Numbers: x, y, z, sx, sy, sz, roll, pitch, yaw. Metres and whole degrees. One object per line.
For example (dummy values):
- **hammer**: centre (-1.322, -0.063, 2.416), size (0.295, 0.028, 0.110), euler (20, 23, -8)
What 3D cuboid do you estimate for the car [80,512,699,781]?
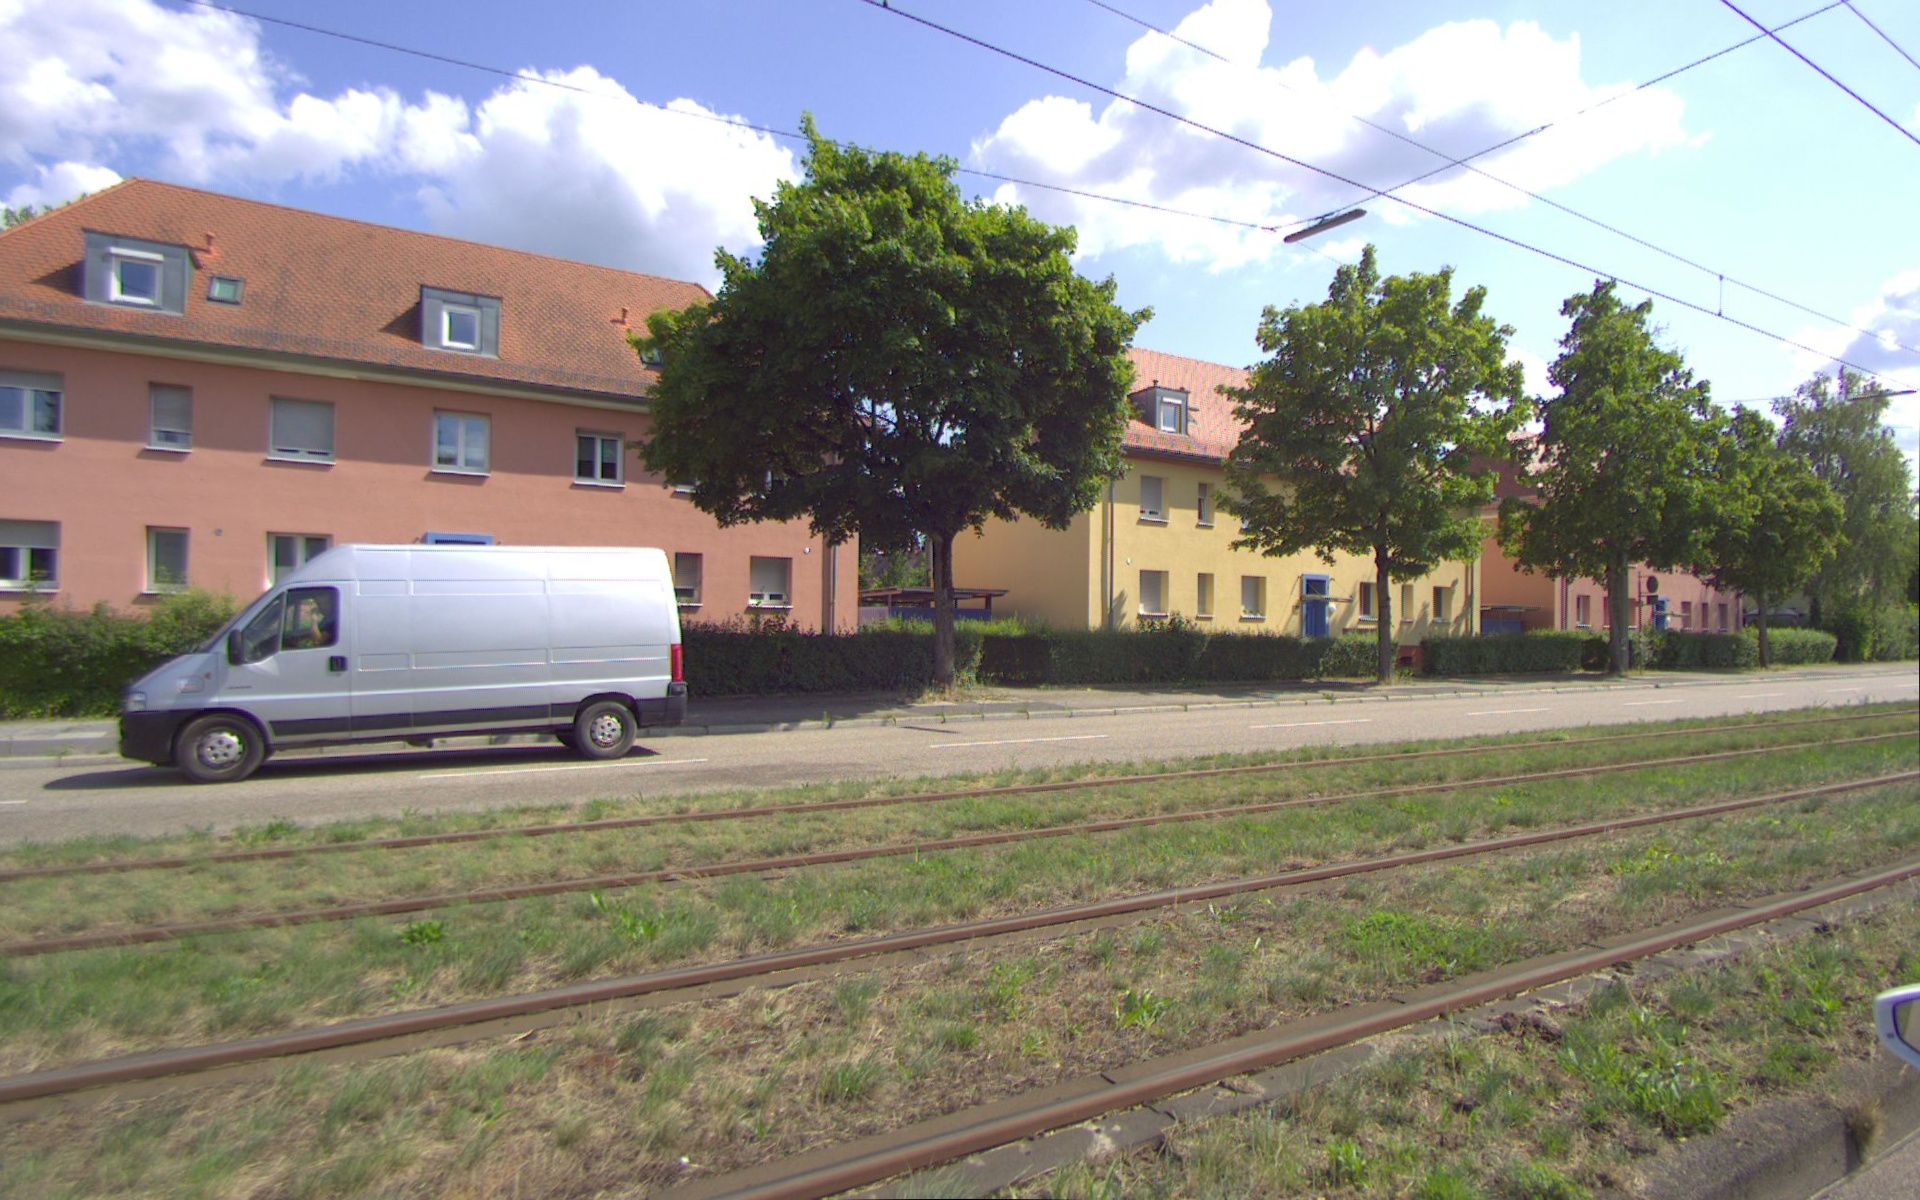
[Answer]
- **car**: centre (-6.122, 0.531, 11.589), size (5.712, 2.468, 2.022), euler (2, -3, -32)
